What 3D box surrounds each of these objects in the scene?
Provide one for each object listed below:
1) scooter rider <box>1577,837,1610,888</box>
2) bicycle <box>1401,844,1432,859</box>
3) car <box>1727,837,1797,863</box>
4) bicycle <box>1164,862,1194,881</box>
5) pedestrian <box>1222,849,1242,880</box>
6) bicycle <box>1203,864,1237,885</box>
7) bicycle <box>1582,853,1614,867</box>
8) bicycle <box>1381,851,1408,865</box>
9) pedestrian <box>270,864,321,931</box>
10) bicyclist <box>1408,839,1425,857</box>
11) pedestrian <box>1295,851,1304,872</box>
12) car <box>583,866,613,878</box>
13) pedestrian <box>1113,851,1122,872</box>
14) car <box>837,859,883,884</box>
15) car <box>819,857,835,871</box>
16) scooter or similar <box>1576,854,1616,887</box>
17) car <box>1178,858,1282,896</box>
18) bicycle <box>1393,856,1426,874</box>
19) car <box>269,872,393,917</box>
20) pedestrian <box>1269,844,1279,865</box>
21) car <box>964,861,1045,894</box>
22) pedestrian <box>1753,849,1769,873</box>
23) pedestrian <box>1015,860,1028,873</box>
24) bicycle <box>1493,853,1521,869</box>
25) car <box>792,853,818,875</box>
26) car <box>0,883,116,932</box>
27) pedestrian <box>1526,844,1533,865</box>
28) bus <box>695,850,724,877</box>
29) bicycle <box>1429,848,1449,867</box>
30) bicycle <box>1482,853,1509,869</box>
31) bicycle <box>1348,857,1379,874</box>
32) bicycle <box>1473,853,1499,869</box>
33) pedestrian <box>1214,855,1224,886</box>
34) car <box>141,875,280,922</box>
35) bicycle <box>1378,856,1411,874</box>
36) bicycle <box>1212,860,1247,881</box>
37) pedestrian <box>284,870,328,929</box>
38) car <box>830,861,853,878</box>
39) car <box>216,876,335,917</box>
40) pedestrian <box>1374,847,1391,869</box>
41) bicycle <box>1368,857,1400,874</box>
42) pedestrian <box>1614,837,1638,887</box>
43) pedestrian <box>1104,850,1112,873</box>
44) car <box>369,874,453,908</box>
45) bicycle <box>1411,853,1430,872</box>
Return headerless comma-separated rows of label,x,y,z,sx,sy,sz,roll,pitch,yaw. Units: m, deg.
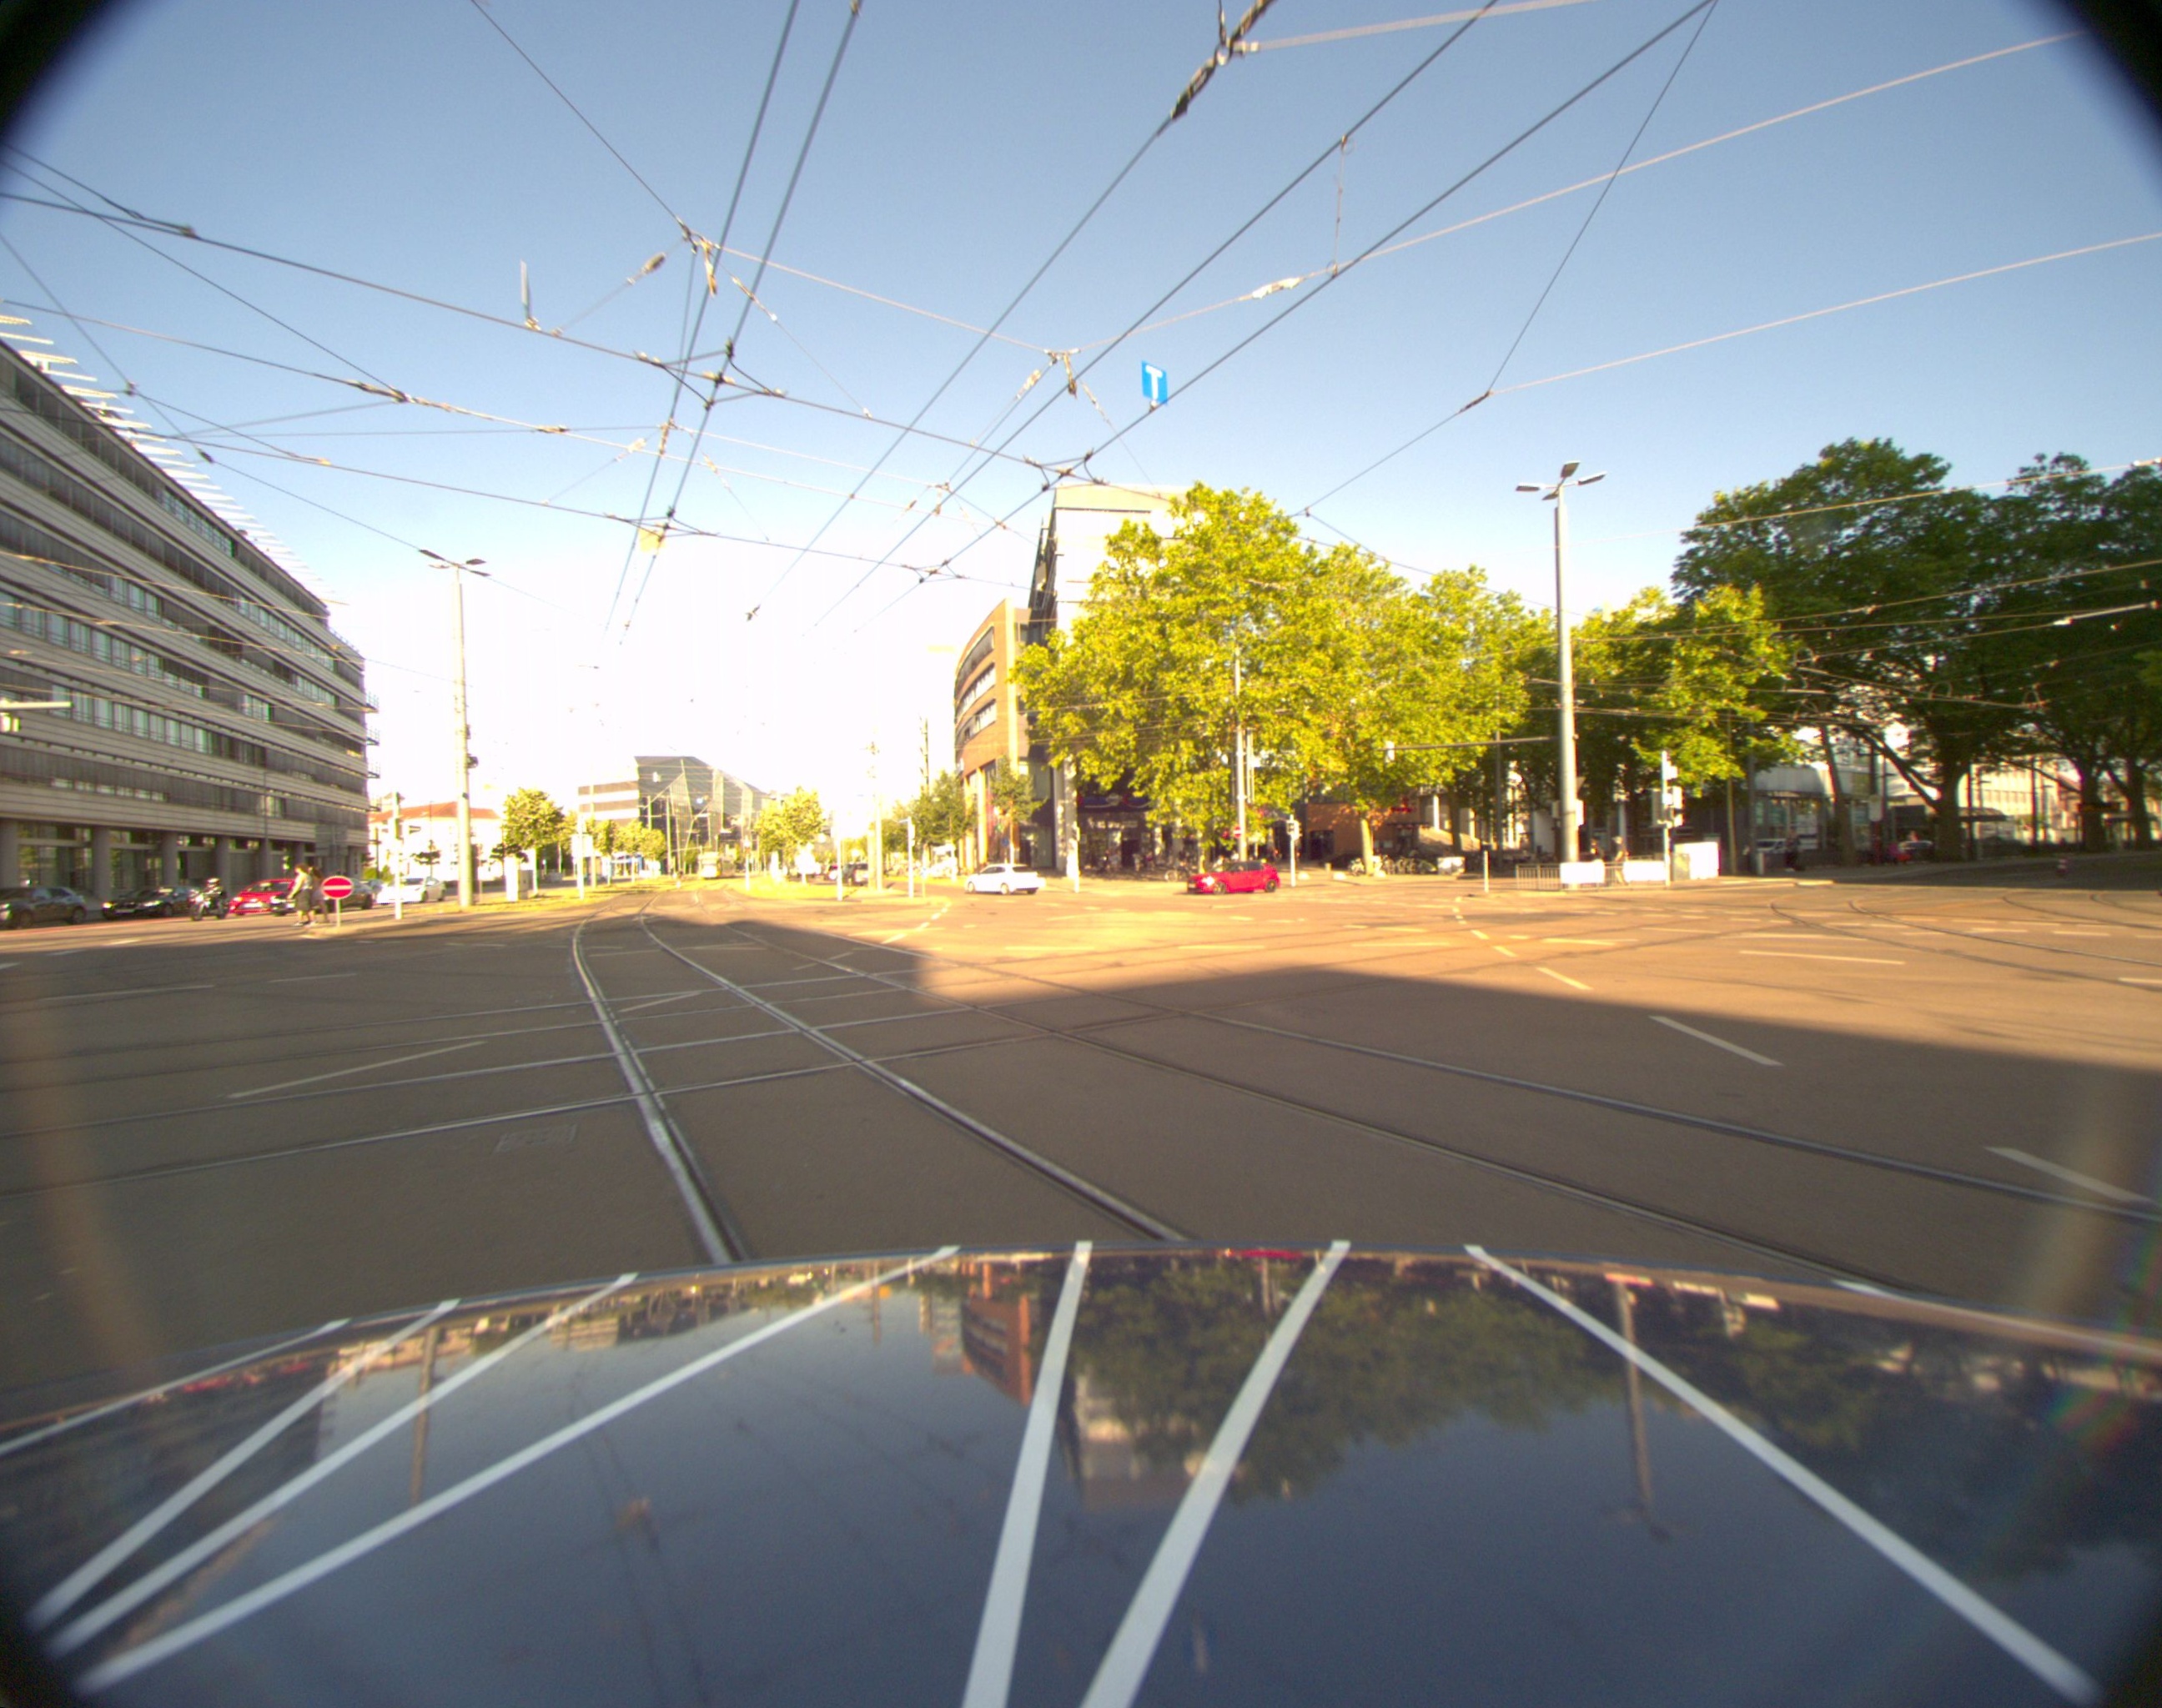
scooter rider,18.682,0.300,27.695,0.589,1.822,0.762,-2,1,-21
bicycle,25.315,-0.164,57.284,2.013,1.061,0.696,-1,1,0
car,54.645,-0.310,60.998,4.969,1.934,1.970,-1,0,-18
bicycle,5.683,1.008,44.126,1.701,1.030,0.548,-1,0,-26
pedestrian,8.913,0.627,44.797,0.894,1.754,0.730,-1,-1,-17
bicycle,8.022,1.172,43.783,1.846,1.123,0.773,-1,1,-30
bicycle,38.635,0.450,56.771,0.579,1.057,1.943,-1,0,-23
bicycle,25.005,0.313,60.609,0.697,1.061,2.010,-2,0,-30
pedestrian,-22.541,1.225,21.821,0.697,1.832,0.969,-1,1,44
bicyclist,25.286,-0.462,57.288,0.958,1.336,0.675,-1,1,-1
pedestrian,17.478,0.597,60.864,0.543,1.659,0.571,-1,1,3
car,-81.465,3.004,128.245,4.004,1.849,1.996,-1,0,-22
pedestrian,2.797,0.584,58.557,0.595,1.647,0.592,-1,1,-8
car,-14.626,1.174,50.143,1.622,1.593,4.165,1,-2,-36
car,-38.267,1.453,114.538,1.612,2.002,3.883,-1,0,-9
scooter or similar,18.719,0.601,27.640,0.456,1.172,1.158,-1,1,-21
car,6.307,0.951,32.186,4.004,1.419,1.689,-1,0,-22
bicycle,20.513,0.666,47.473,1.949,1.057,0.782,-1,0,-26
car,-30.493,1.597,31.079,1.906,1.611,4.517,-2,-1,-21
pedestrian,15.181,0.047,59.875,0.571,1.659,0.543,-1,1,-12
car,-3.661,1.100,35.977,1.639,1.443,3.989,-1,0,-44
pedestrian,29.072,0.291,32.482,0.379,1.026,0.405,-2,1,-33
pedestrian,-4.809,1.019,61.289,0.778,1.075,0.679,-2,1,-38
bicycle,28.655,0.462,51.089,1.949,1.057,0.577,-1,0,-26
car,-32.195,1.185,88.690,2.001,2.465,5.969,-2,-1,-12
car,-37.852,1.908,27.380,1.906,1.611,4.165,-2,-1,-21
pedestrian,34.035,0.051,57.695,0.409,1.546,0.448,-1,1,34
bus,-49.163,1.285,100.364,2.731,3.388,9.647,-2,-1,-29
bicycle,23.484,0.232,49.917,0.782,1.182,3.563,-1,0,18
bicycle,28.267,0.485,51.815,1.949,1.057,0.577,-1,0,-26
bicycle,18.550,0.762,49.864,1.949,1.057,0.782,-1,0,-26
bicycle,28.022,0.503,52.570,1.949,1.057,0.577,-1,0,-26
pedestrian,6.929,0.834,38.161,0.484,1.529,0.573,-1,1,9
car,-33.464,1.668,29.376,1.906,1.611,3.860,-2,-1,-21
bicycle,19.916,0.697,48.287,1.949,1.057,0.782,-1,0,-26
bicycle,8.417,0.904,43.045,1.846,1.123,0.773,-1,1,-30
pedestrian,-22.883,1.314,22.439,0.646,1.678,0.848,0,1,44
car,-23.757,1.542,75.406,1.866,1.622,4.258,-2,0,-14
car,-34.969,1.795,33.145,1.906,1.611,4.165,-2,-1,-21
pedestrian,21.264,0.281,53.580,0.877,1.533,0.764,-2,1,-32
bicycle,19.553,0.719,49.037,1.949,1.057,0.782,-1,0,-26
pedestrian,19.844,0.295,27.662,0.674,1.785,0.568,-2,1,-42
pedestrian,2.080,0.577,58.747,0.592,1.745,0.595,-1,1,5
car,-34.792,1.878,39.599,1.906,1.611,4.165,-2,-1,-21
bicycle,22.289,0.541,49.974,0.782,1.182,3.563,-1,0,18
